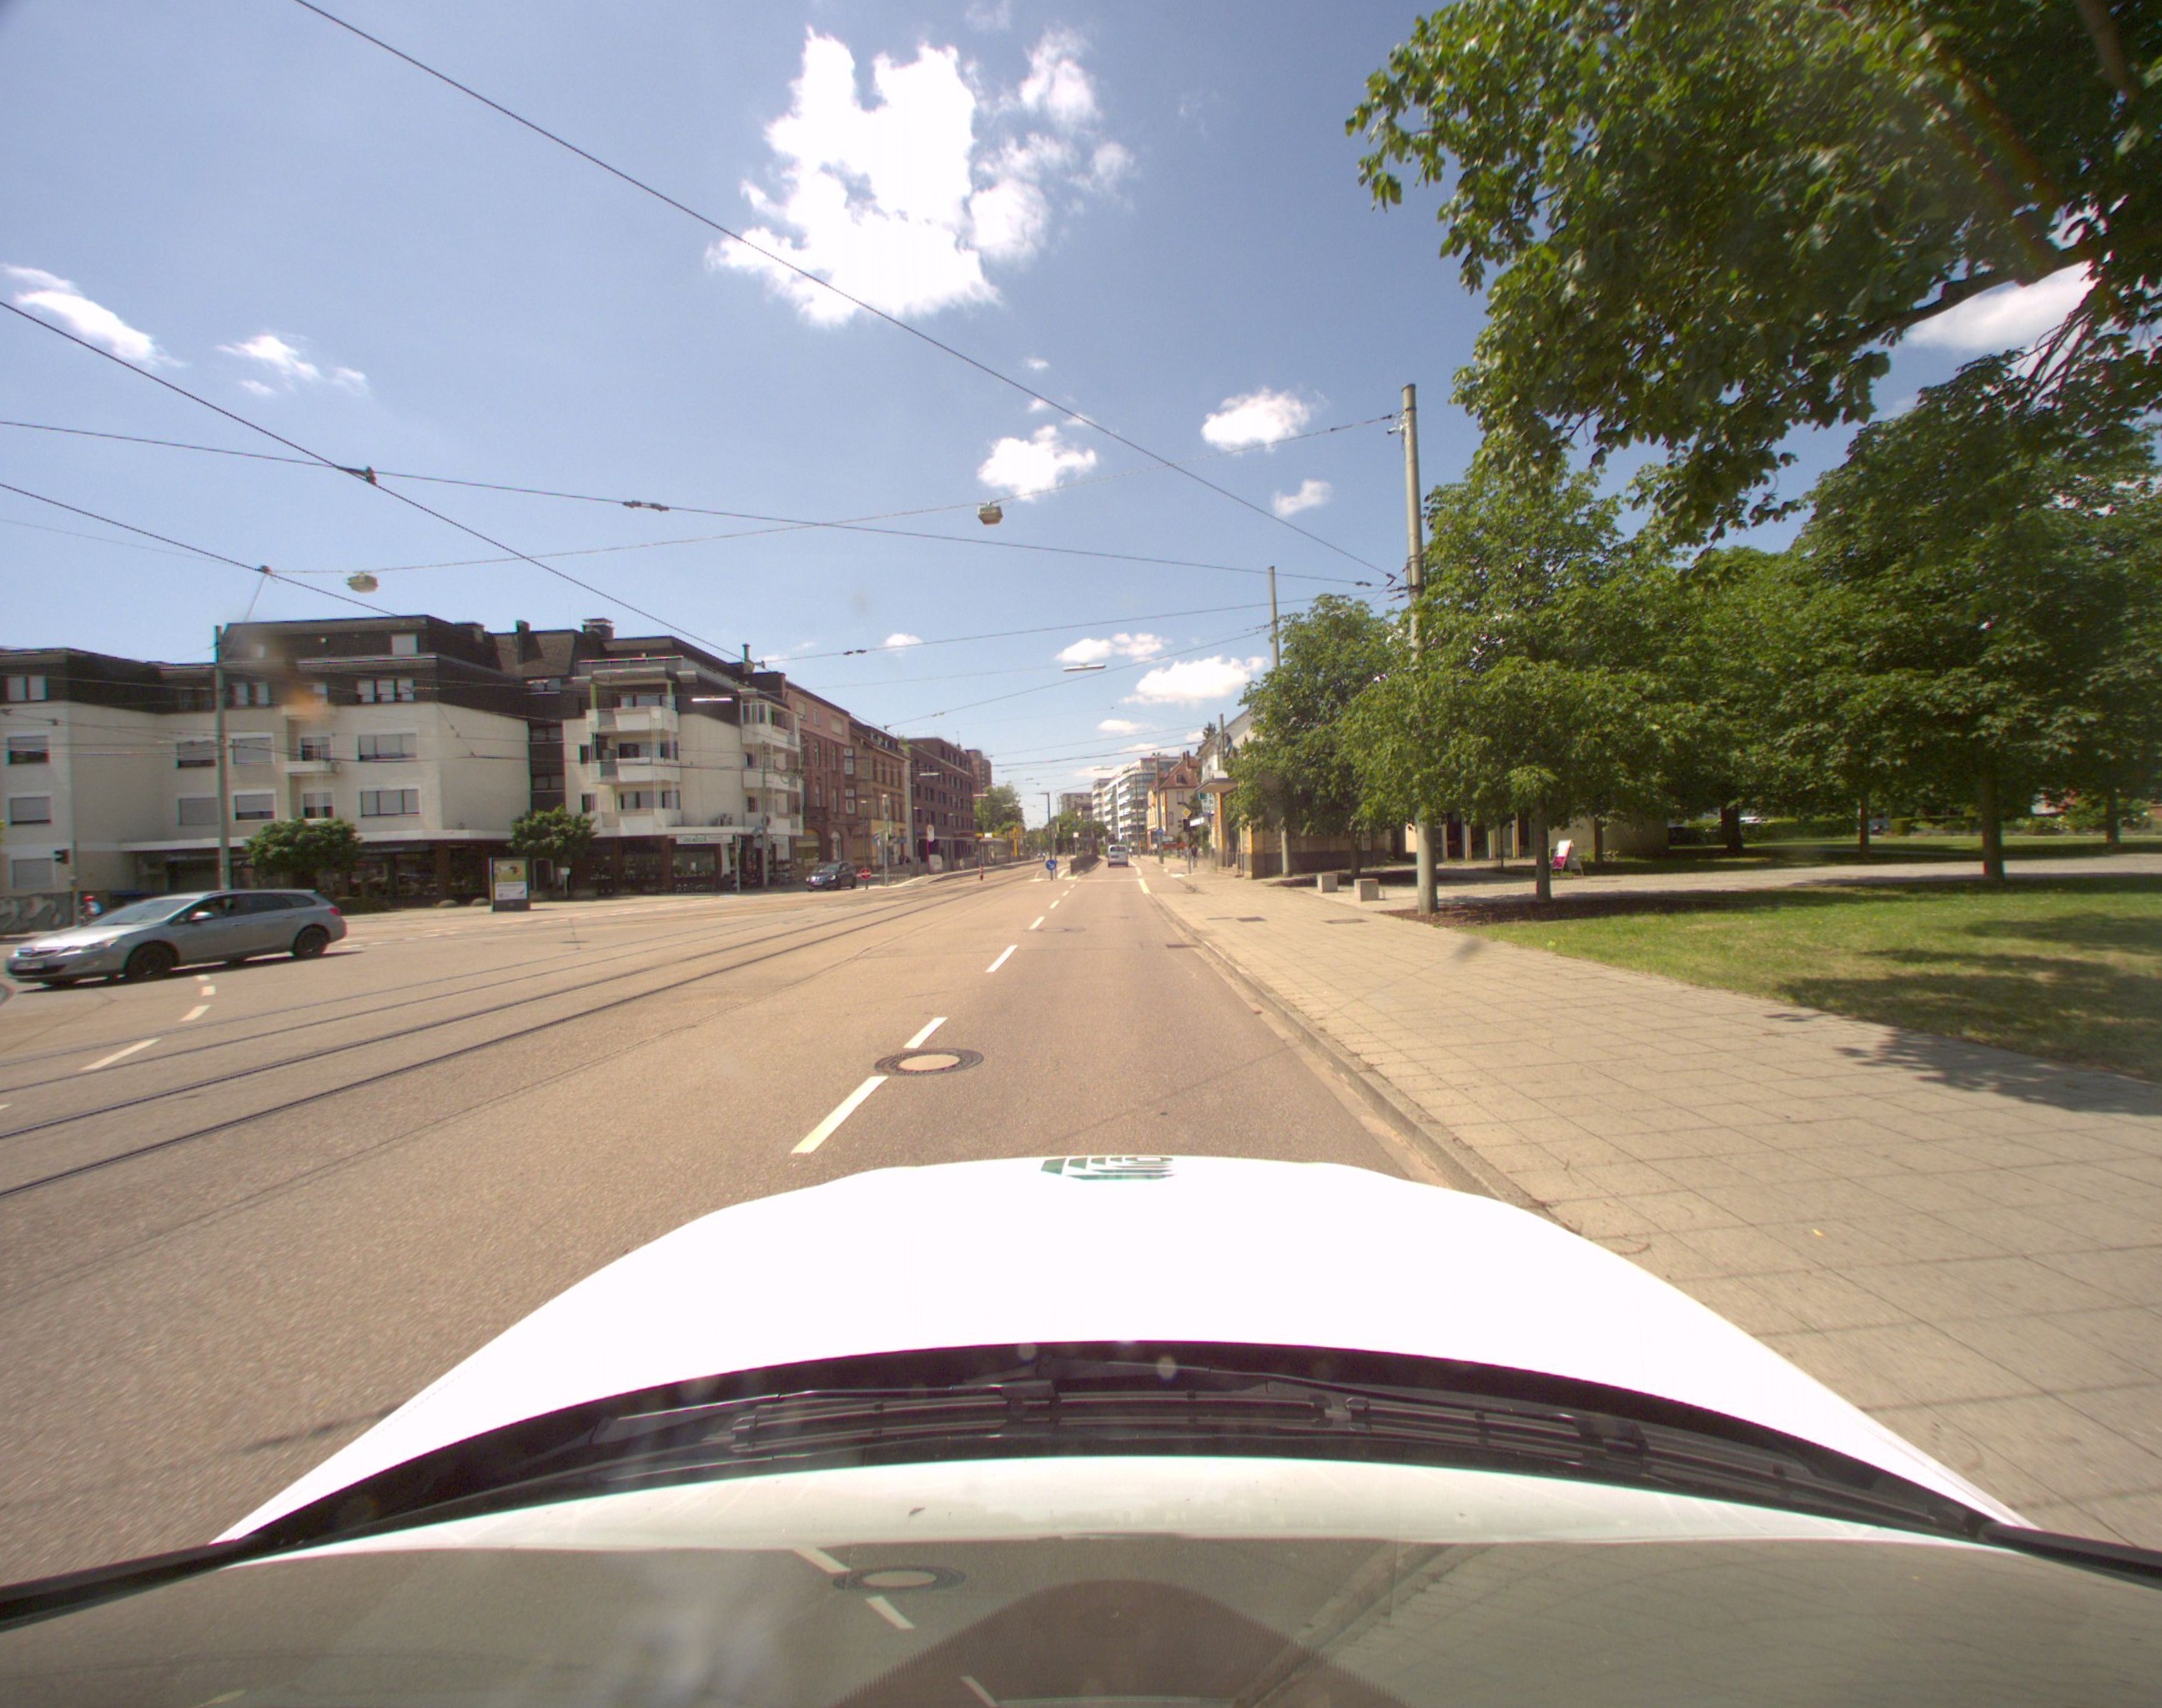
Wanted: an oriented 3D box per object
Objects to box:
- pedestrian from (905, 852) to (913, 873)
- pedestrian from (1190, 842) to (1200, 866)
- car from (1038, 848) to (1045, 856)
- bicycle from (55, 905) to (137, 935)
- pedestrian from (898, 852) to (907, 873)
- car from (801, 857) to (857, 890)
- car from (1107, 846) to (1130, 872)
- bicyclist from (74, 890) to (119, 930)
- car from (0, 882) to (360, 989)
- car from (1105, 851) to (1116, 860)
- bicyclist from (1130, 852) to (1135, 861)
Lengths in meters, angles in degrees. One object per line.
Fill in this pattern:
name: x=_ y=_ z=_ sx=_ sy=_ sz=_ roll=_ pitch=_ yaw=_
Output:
pedestrian: x=-17.098 y=0.822 z=80.956 sx=0.674 sy=2.014 sz=0.685 roll=-1 pitch=-1 yaw=0
pedestrian: x=7.710 y=0.008 z=55.169 sx=0.574 sy=1.556 sz=0.787 roll=-4 pitch=-1 yaw=5
car: x=-10.975 y=-0.591 z=225.299 sx=1.697 sy=1.616 sz=3.749 roll=-7 pitch=-3 yaw=-7
bicycle: x=-38.312 y=2.564 z=31.679 sx=2.244 sy=0.934 sz=0.671 roll=-4 pitch=-1 yaw=-2
pedestrian: x=-17.763 y=0.861 z=80.927 sx=0.615 sy=2.013 sz=0.810 roll=-3 pitch=0 yaw=0
car: x=-14.212 y=1.079 z=46.162 sx=1.718 sy=1.683 sz=4.280 roll=-3 pitch=0 yaw=1
car: x=3.132 y=0.396 z=68.414 sx=1.746 sy=2.013 sz=4.002 roll=-3 pitch=1 yaw=2
bicyclist: x=-38.294 y=2.164 z=31.682 sx=0.843 sy=1.468 sz=0.656 roll=-4 pitch=-1 yaw=0
car: x=-16.683 y=1.402 z=15.328 sx=1.983 sy=1.471 sz=4.409 roll=-3 pitch=0 yaw=6
car: x=6.187 y=0.291 z=173.462 sx=1.859 sy=1.687 sz=4.995 roll=-3 pitch=0 yaw=-3
bicyclist: x=7.411 y=0.354 z=117.906 sx=0.589 sy=1.397 sz=0.841 roll=-2 pitch=0 yaw=-1
